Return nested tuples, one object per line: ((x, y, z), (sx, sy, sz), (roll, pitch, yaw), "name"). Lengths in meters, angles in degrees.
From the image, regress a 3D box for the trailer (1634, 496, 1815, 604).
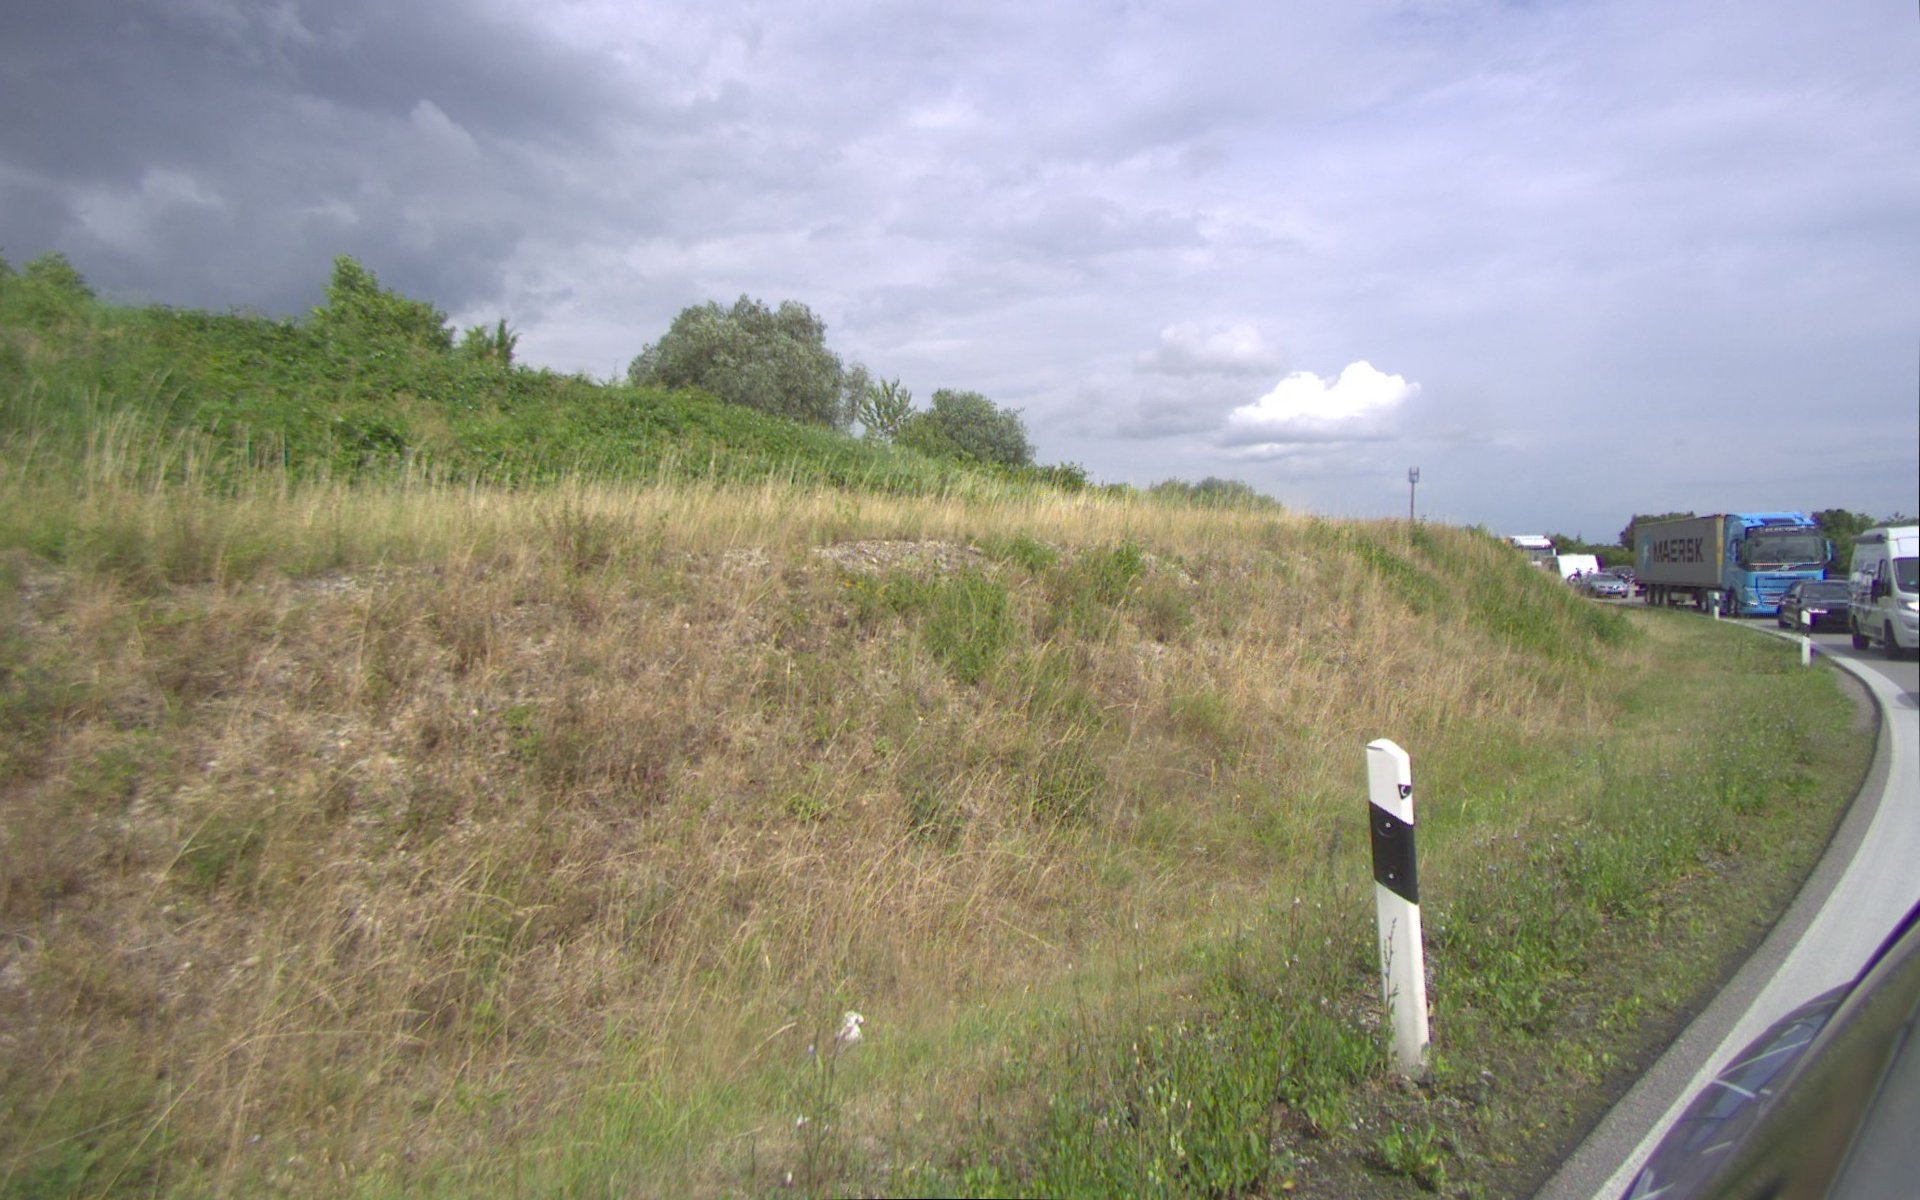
((33.930, -2.035, 45.642), (3.236, 4.213, 11.934), (0, 1, 21), "trailer")

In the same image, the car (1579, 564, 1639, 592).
((37.663, -1.291, 58.848), (1.973, 1.548, 3.979), (0, 3, 18), "car")

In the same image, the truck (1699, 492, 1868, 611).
((31.289, -1.724, 38.848), (3.143, 4.124, 6.599), (0, 1, 22), "truck")

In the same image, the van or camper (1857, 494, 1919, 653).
((20.206, -0.538, 20.616), (2.385, 2.945, 5.645), (0, 1, 37), "van or camper")

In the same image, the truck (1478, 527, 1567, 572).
((43.921, -3.865, 79.485), (3.078, 3.279, 11.118), (0, 2, 13), "truck")

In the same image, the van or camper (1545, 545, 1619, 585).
((39.554, -2.290, 64.544), (2.518, 2.237, 5.687), (-1, 4, 16), "van or camper")

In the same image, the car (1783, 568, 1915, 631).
((25.621, -0.086, 29.336), (1.982, 1.638, 3.962), (1, 2, 28), "car")
